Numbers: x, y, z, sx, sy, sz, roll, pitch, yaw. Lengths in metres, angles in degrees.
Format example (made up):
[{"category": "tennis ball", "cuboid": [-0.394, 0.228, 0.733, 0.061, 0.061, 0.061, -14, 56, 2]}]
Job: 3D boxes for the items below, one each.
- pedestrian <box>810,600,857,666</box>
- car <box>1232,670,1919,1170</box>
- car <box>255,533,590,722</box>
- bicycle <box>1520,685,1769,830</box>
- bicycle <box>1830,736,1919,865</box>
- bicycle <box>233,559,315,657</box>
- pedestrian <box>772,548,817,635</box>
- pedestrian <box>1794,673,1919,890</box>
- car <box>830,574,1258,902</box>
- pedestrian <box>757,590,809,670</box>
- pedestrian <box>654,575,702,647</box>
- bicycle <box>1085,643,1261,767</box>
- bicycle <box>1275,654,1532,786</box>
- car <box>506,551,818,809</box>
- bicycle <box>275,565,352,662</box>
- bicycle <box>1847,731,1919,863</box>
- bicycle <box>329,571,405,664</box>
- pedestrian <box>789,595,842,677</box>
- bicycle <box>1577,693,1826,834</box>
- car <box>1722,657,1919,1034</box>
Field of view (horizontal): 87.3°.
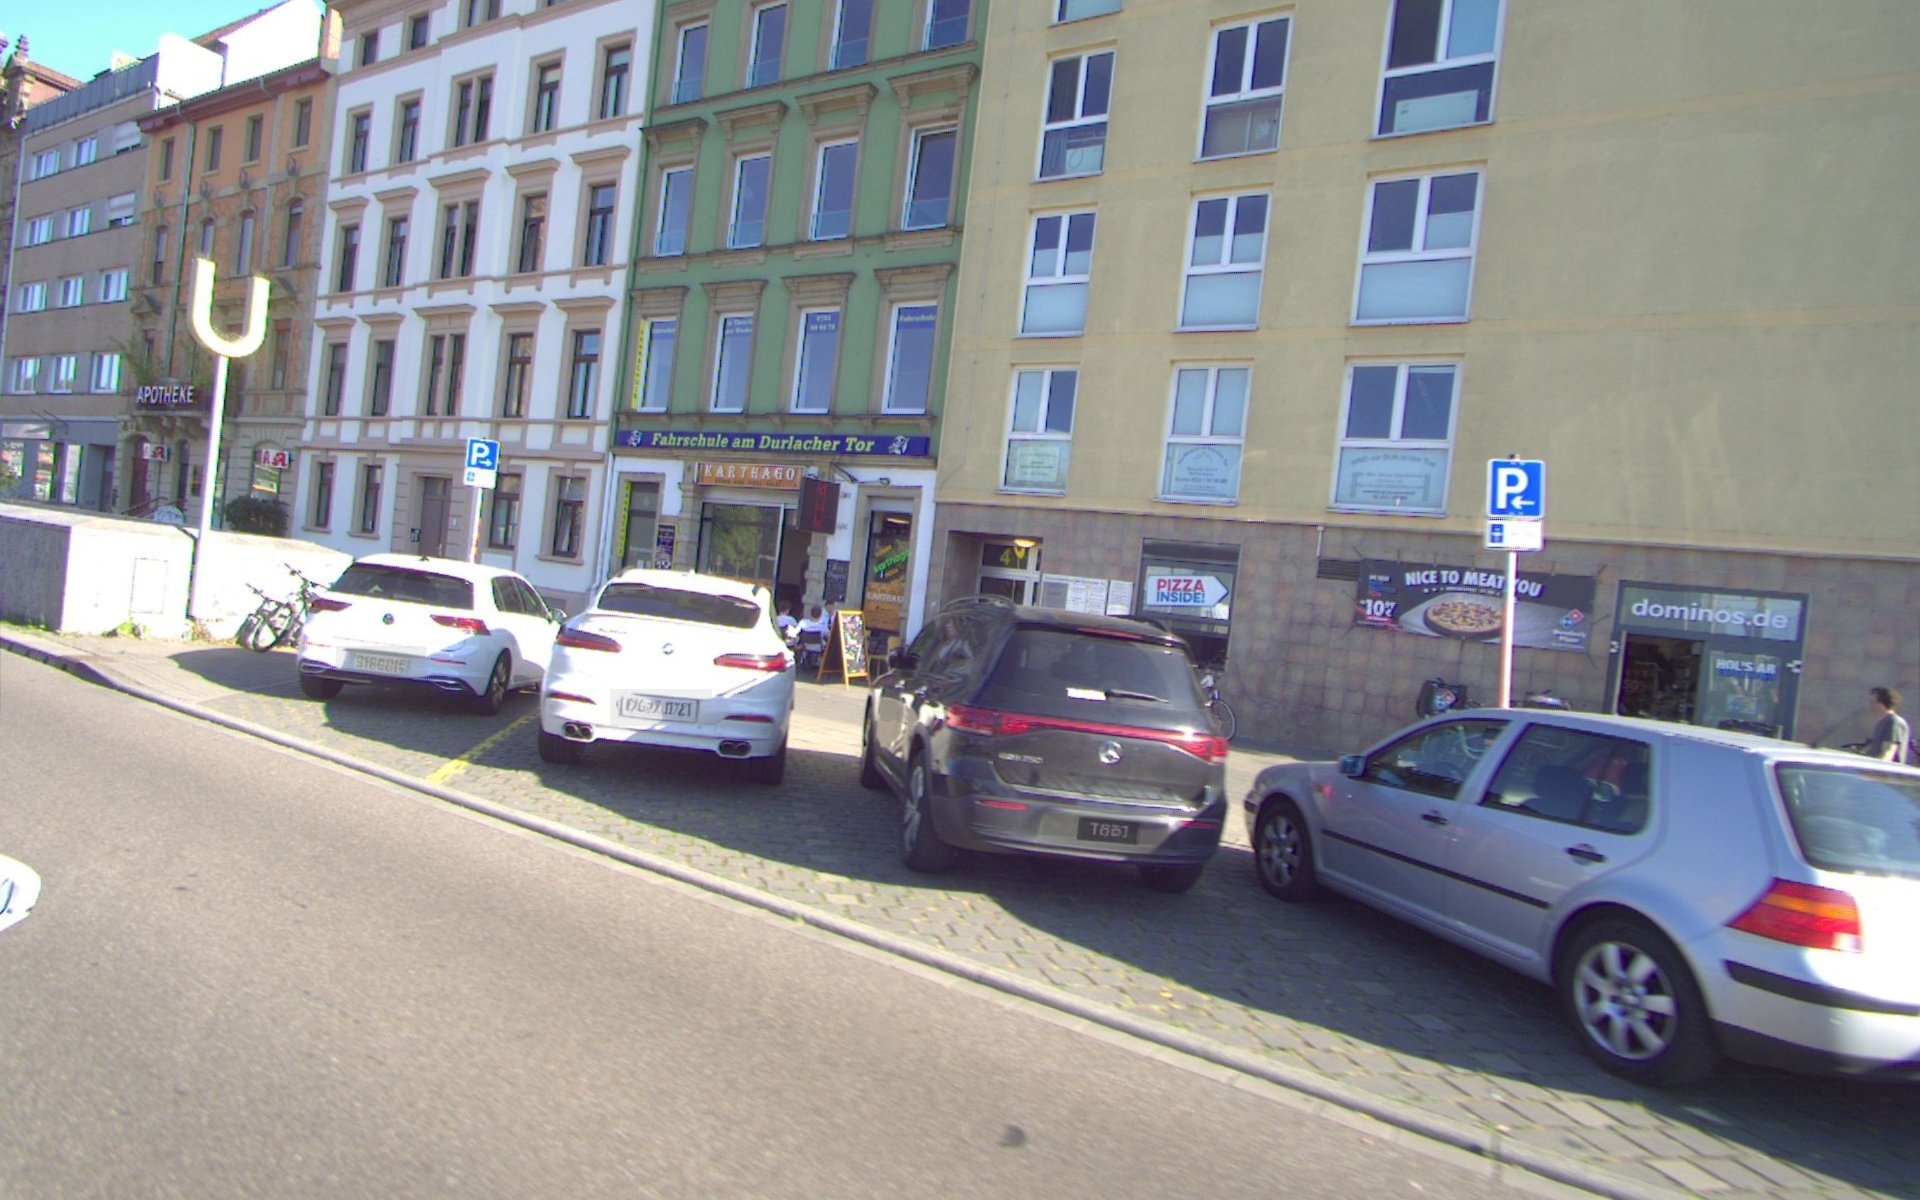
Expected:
[{"category": "pedestrian", "cuboid": [-2.405, 0.626, 19.096, 0.583, 1.174, 0.514, 7, 1, 38]}, {"category": "car", "cuboid": [3.268, 1.288, 5.369, 1.760, 1.415, 3.886, 8, -2, -13]}, {"category": "car", "cuboid": [-5.540, 0.243, 11.043, 1.929, 1.482, 4.105, 7, 0, -10]}, {"category": "bicycle", "cuboid": [7.998, 1.805, 11.905, 2.259, 1.265, 0.658, 6, 2, 29]}, {"category": "bicycle", "cuboid": [10.959, 2.298, 11.070, 1.867, 1.265, 0.658, 6, 2, 28]}, {"category": "bicycle", "cuboid": [-8.536, 0.090, 12.548, 0.413, 1.123, 1.091, 8, -1, -18]}, {"category": "pedestrian", "cuboid": [-3.440, -0.171, 20.918, 0.584, 1.733, 0.514, 7, 1, 43]}, {"category": "pedestrian", "cuboid": [8.767, 1.708, 9.572, 0.816, 1.890, 0.753, 7, 1, 1]}, {"category": "car", "cuboid": [0.242, 0.796, 7.640, 1.929, 1.616, 4.243, 8, -1, -12]}, {"category": "pedestrian", "cuboid": [-3.136, 0.539, 17.853, 0.583, 1.335, 0.514, 7, 1, 38]}, {"category": "pedestrian", "cuboid": [-5.537, 0.219, 19.785, 0.581, 1.335, 0.516, 7, 1, 24]}, {"category": "bicycle", "cuboid": [3.141, 1.507, 14.946, 2.193, 1.375, 0.930, 10, 3, 35]}, {"category": "bicycle", "cuboid": [6.029, 1.572, 13.777, 3.010, 1.279, 0.986, 7, 0, 30]}, {"category": "car", "cuboid": [-2.515, 0.580, 9.113, 1.929, 1.589, 4.242, 8, -1, -13]}, {"category": "bicycle", "cuboid": [-8.128, 0.160, 12.689, 0.413, 1.123, 1.091, 8, -1, -18]}, {"category": "bicycle", "cuboid": [10.602, 2.161, 10.447, 1.867, 1.265, 0.658, 6, 2, 28]}, {"category": "bicycle", "cuboid": [-7.819, 0.216, 13.302, 0.502, 1.123, 1.091, 8, -1, -18]}, {"category": "pedestrian", "cuboid": [-2.499, 0.619, 17.405, 0.583, 1.335, 0.514, 7, 1, 38]}, {"category": "bicycle", "cuboid": [8.937, 1.939, 12.273, 2.259, 1.265, 0.658, 6, 2, 29]}, {"category": "car", "cuboid": [6.005, 1.377, 4.147, 1.928, 1.835, 4.245, 8, -1, -10]}]
